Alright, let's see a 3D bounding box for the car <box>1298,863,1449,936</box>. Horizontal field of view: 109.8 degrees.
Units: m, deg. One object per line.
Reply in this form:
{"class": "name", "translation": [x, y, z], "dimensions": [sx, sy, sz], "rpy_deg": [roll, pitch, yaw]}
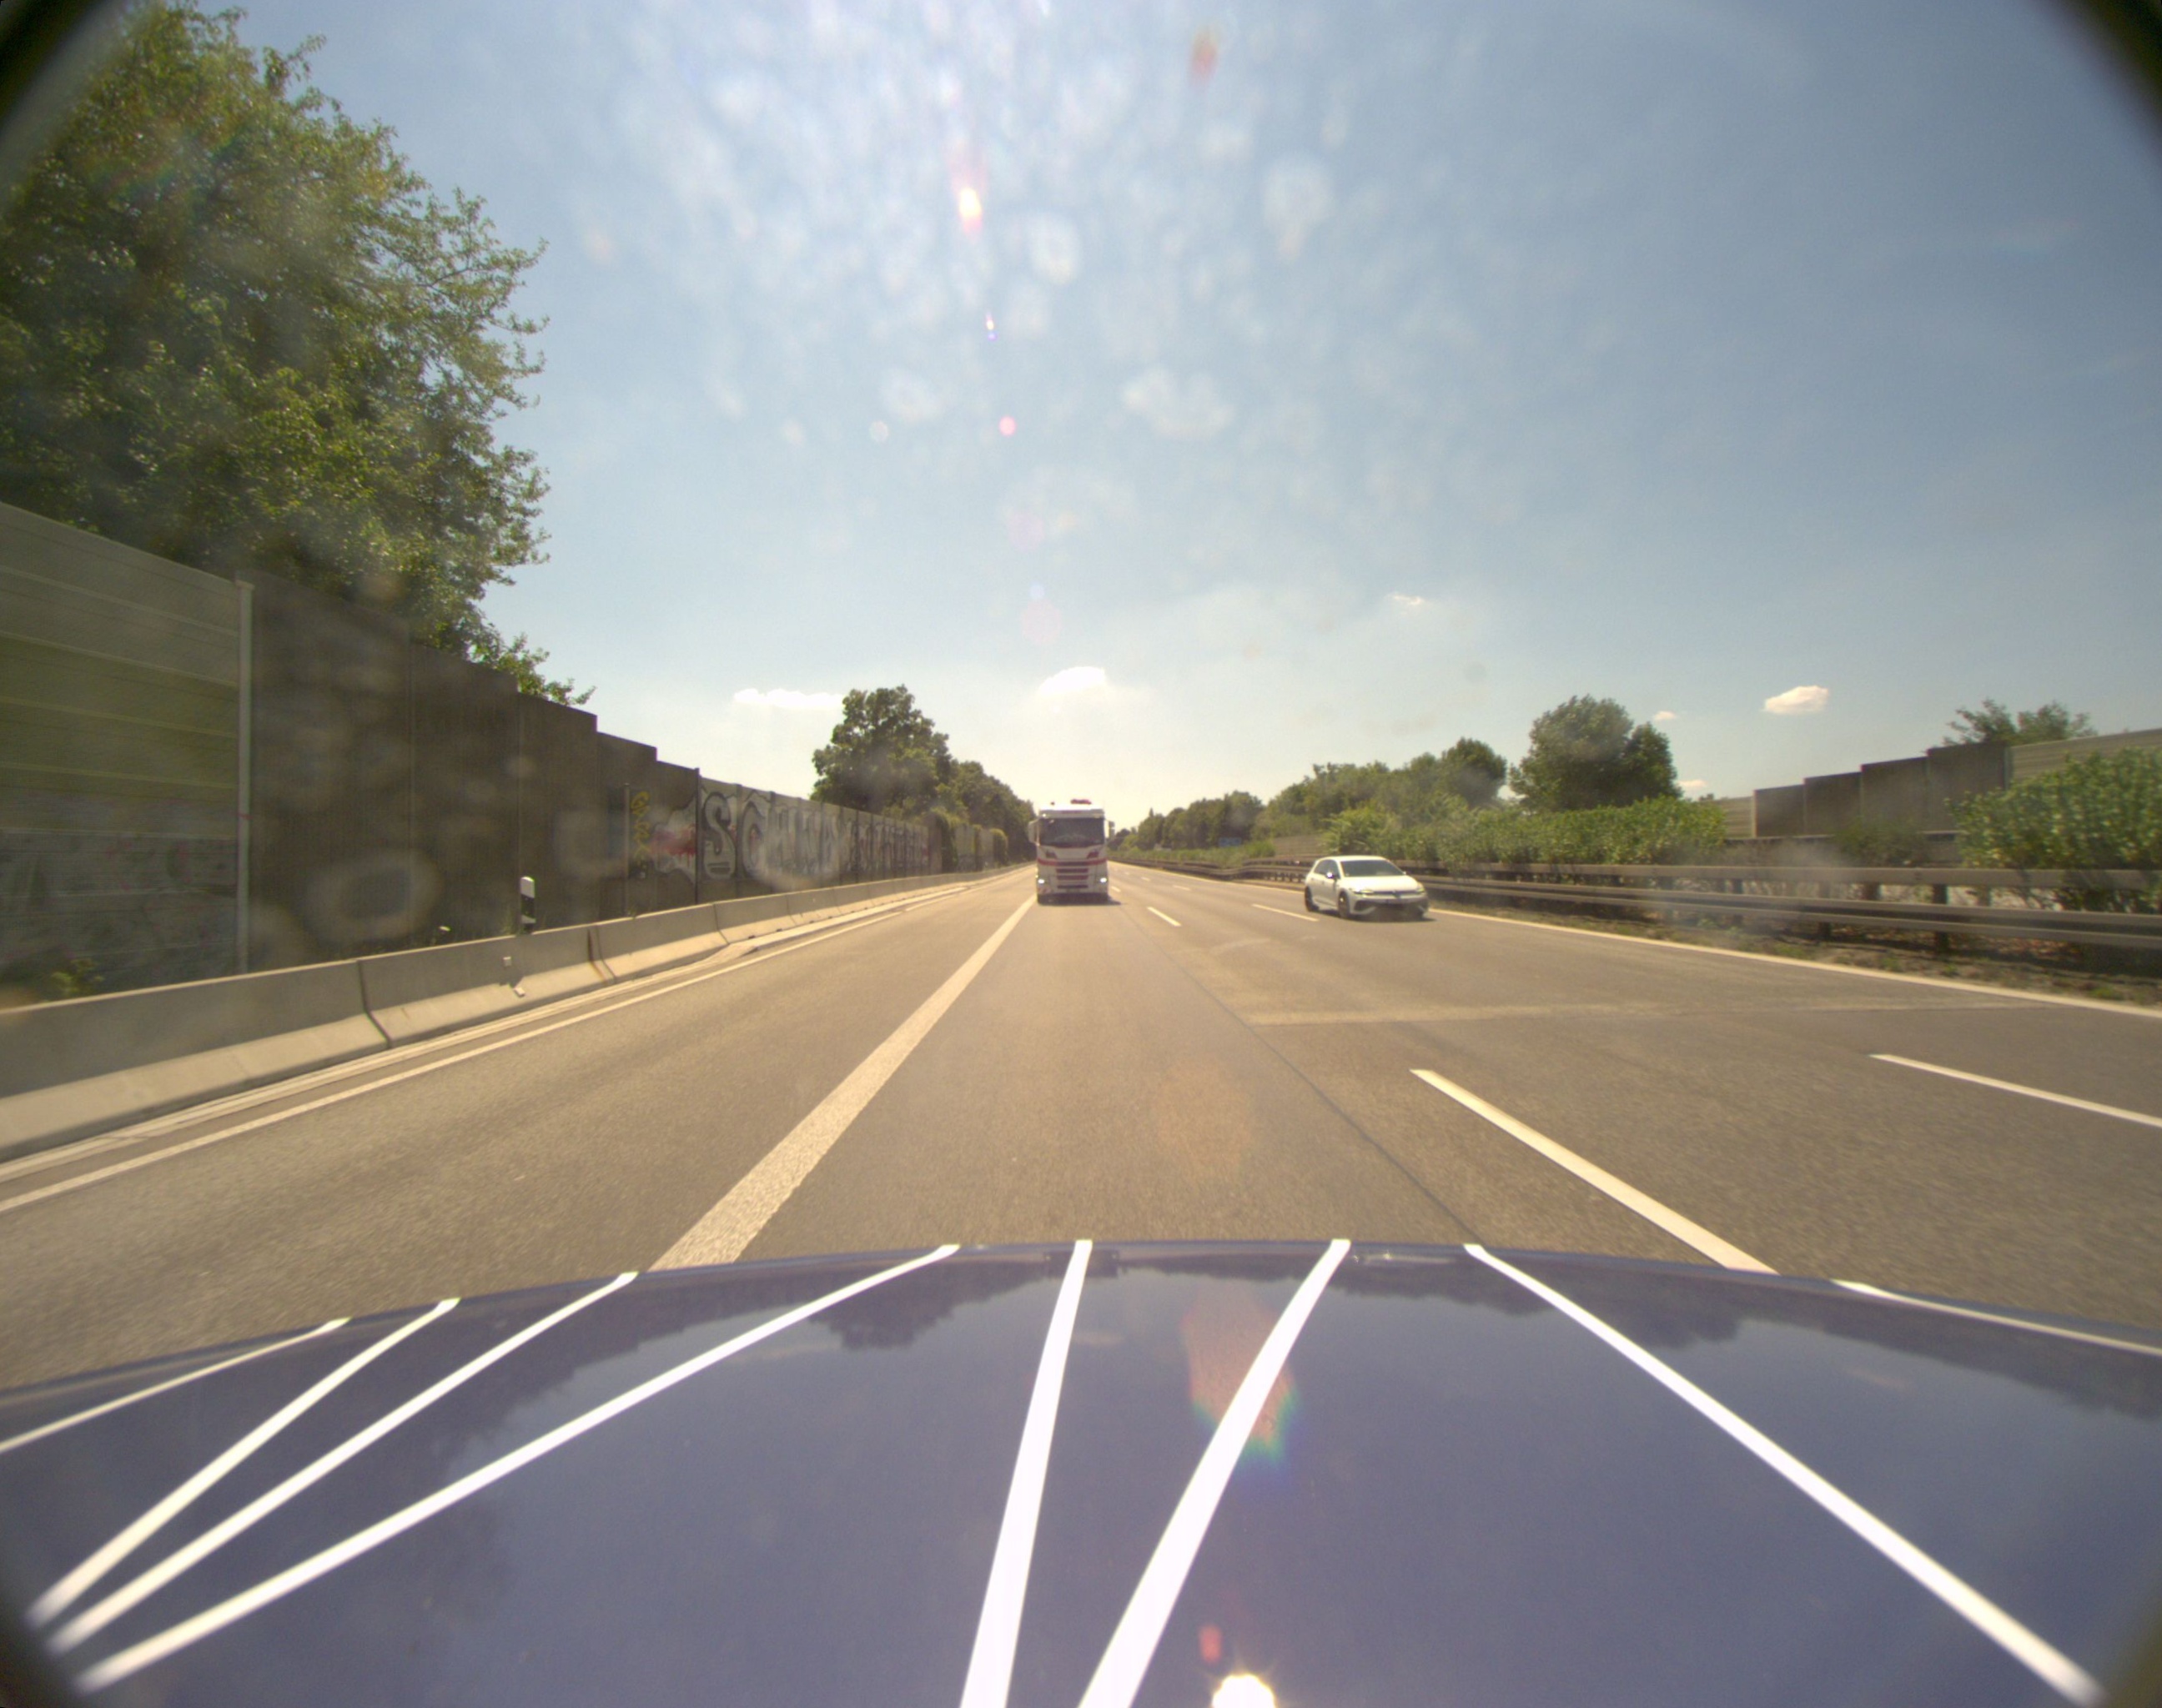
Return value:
{"class": "car", "translation": [6.795, 0.979, 18.247], "dimensions": [1.786, 1.432, 4.668], "rpy_deg": [-1, 0, 0]}

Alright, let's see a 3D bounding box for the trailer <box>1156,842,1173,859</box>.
{"class": "trailer", "translation": [20.032, -0.898, 182.419], "dimensions": [2.712, 3.830, 13.673], "rpy_deg": [-1, 0, 1]}

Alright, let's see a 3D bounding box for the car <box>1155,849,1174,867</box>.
{"class": "car", "translation": [13.434, 0.651, 122.534], "dimensions": [2.246, 2.742, 6.219], "rpy_deg": [-1, 0, -2]}

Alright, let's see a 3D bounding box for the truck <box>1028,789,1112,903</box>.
{"class": "truck", "translation": [-0.367, -0.215, 31.122], "dimensions": [2.721, 3.779, 10.672], "rpy_deg": [-2, -1, 0]}
